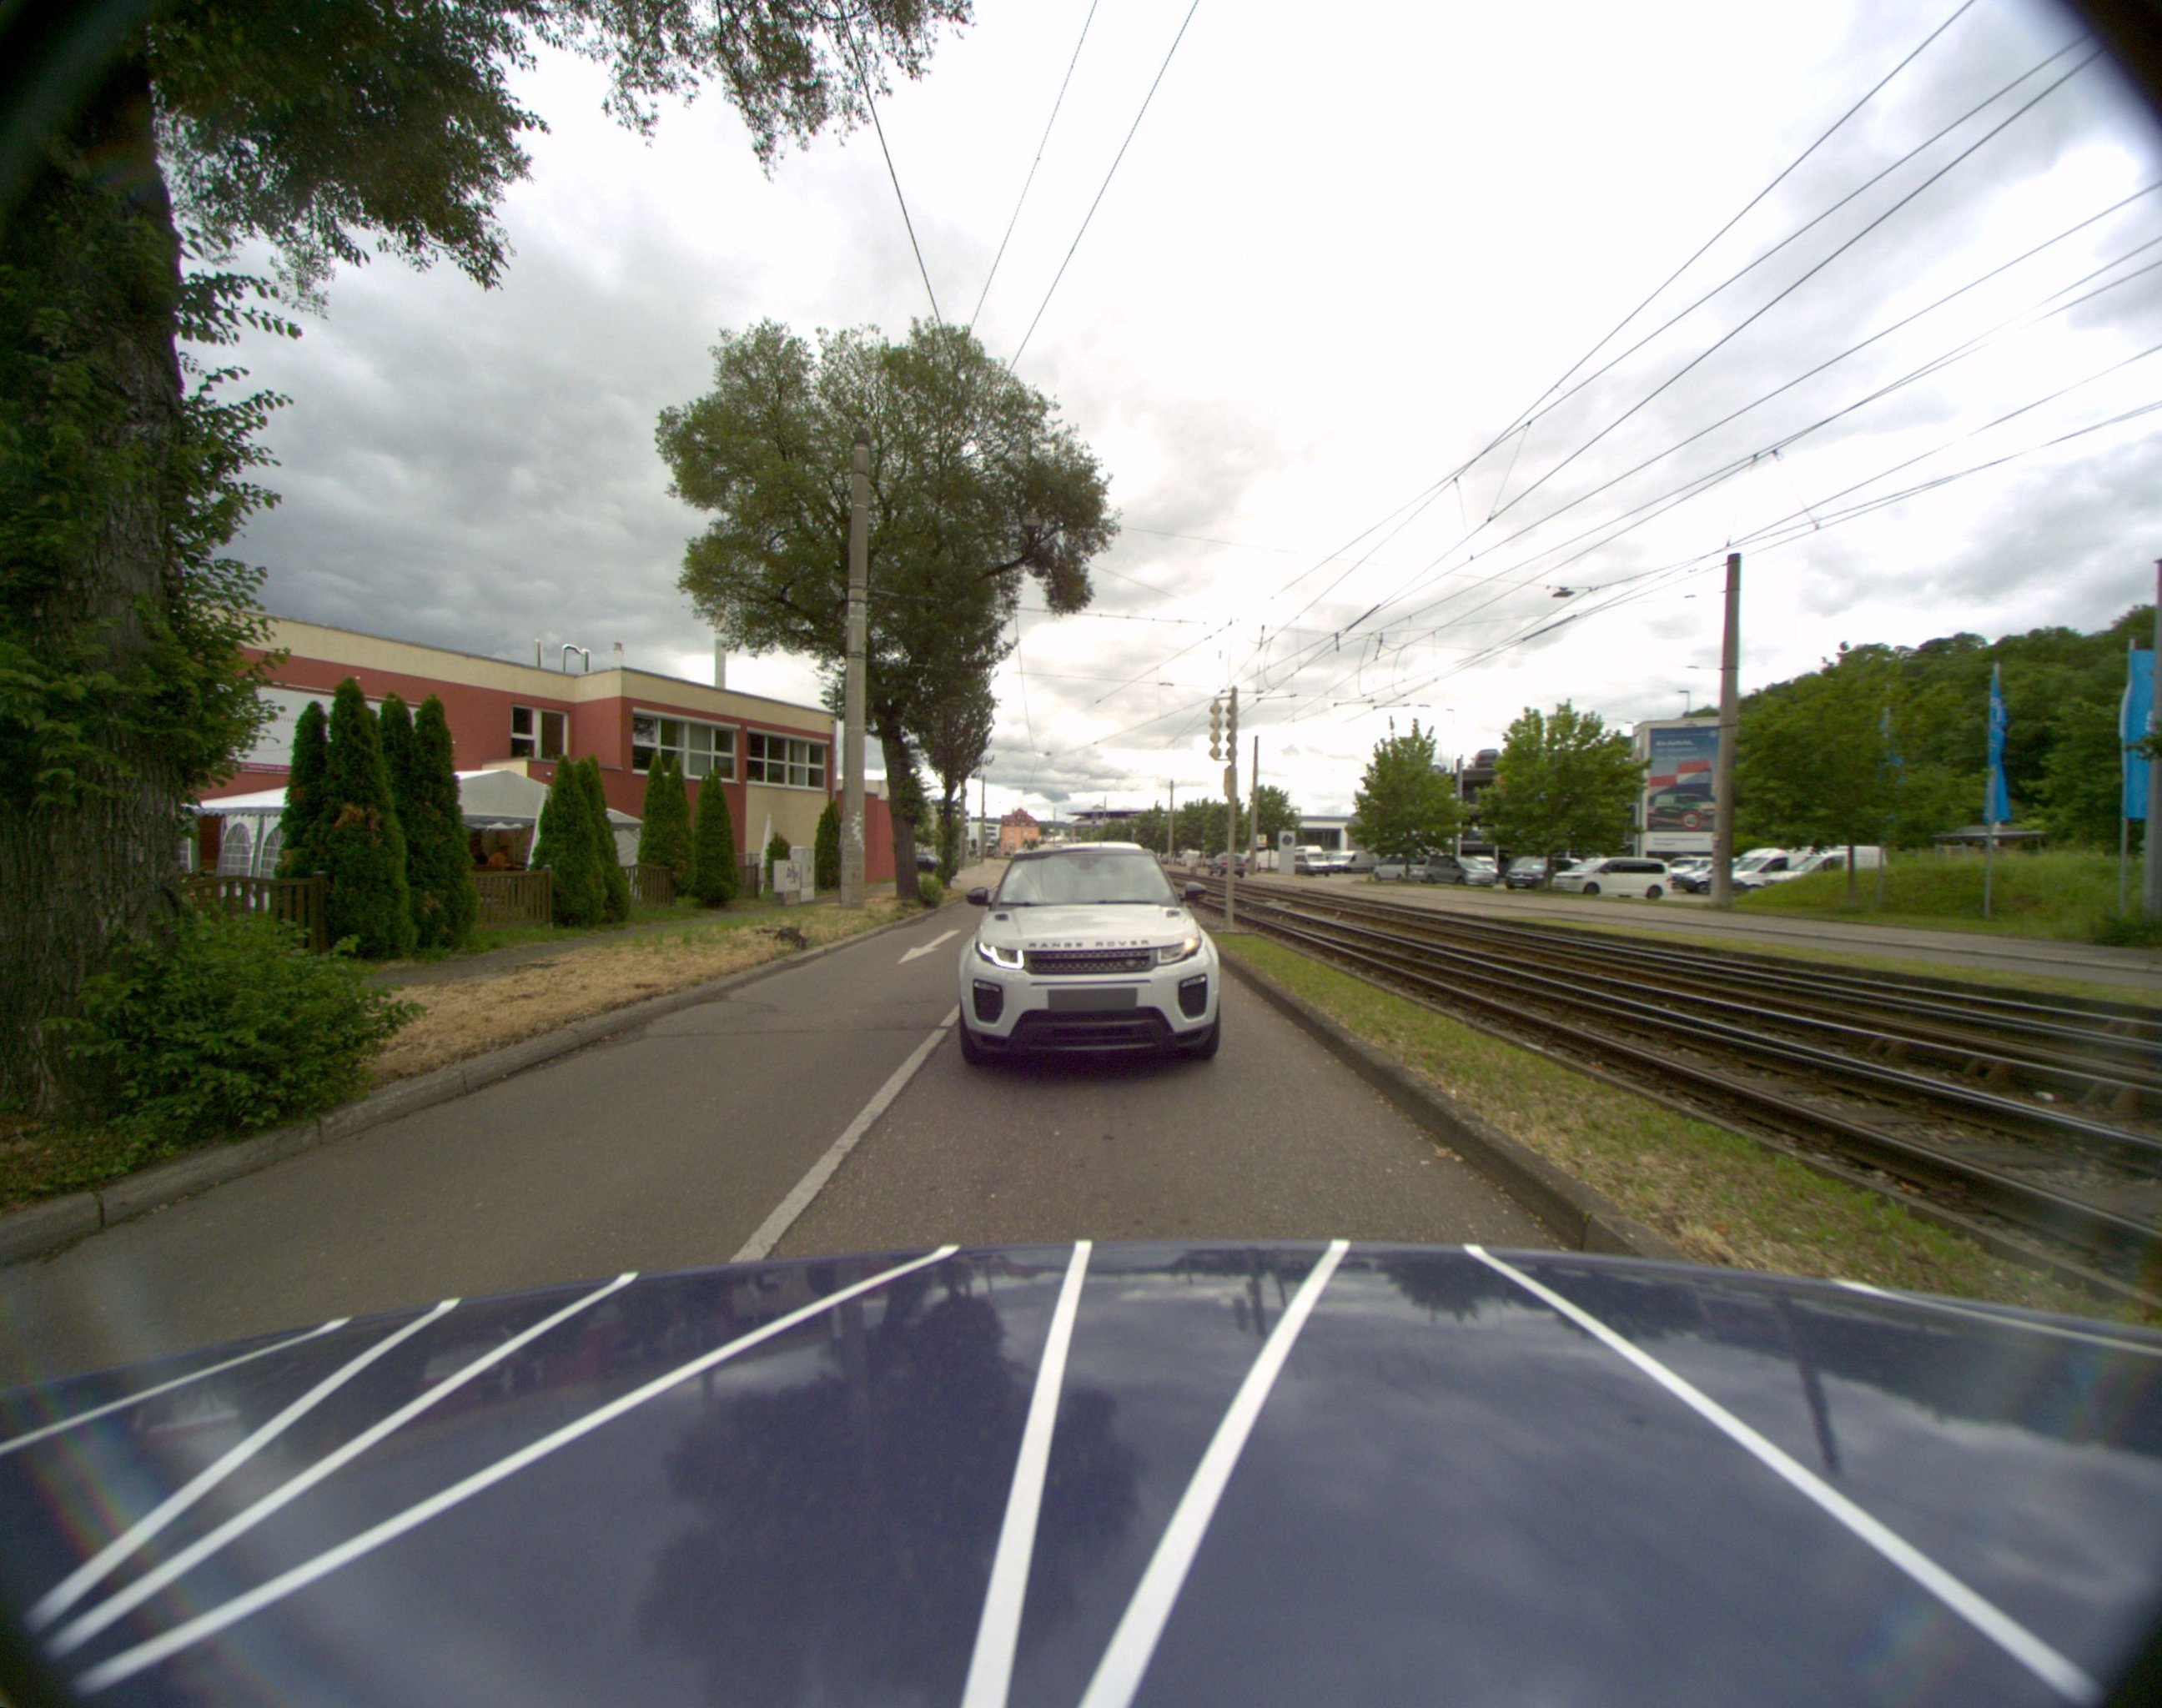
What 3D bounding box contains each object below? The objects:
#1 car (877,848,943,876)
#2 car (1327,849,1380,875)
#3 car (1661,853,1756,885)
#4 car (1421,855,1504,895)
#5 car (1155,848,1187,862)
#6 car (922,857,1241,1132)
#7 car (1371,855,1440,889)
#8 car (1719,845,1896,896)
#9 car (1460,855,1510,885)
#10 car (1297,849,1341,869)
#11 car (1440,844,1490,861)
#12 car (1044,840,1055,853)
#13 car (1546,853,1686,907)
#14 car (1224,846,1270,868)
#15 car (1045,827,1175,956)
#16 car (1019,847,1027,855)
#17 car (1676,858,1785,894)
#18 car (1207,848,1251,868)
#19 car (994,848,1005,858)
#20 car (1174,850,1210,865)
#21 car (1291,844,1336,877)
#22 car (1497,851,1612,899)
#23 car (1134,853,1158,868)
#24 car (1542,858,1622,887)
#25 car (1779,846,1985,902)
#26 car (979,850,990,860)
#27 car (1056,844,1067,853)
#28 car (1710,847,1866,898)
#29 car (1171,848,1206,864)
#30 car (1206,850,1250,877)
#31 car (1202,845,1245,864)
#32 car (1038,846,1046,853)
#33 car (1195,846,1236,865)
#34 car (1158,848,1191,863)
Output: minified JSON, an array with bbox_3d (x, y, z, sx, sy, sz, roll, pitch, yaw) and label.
[{"bbox_3d":[-11.168,0.533,49.852,3.999,1.636,1.895,-2,1,-6],"label":"car"},{"bbox_3d":[30.358,0.881,84.604,6.057,2.608,2.316,-3,1,-34],"label":"car"},{"bbox_3d":[39.894,0.963,48.432,4.228,1.826,1.983,-2,1,19],"label":"car"},{"bbox_3d":[22.918,1.206,45.906,2.142,2.104,4.773,-2,1,-7],"label":"car"},{"bbox_3d":[14.527,0.156,122.964,4.639,2.196,2.107,-2,1,-8],"label":"car"},{"bbox_3d":[0.004,0.892,6.913,1.998,1.680,4.268,0,1,0],"label":"car"},{"bbox_3d":[22.149,1.169,52.146,2.142,2.104,4.772,-2,1,-8],"label":"car"},{"bbox_3d":[35.091,0.817,36.938,5.839,2.254,2.056,-2,1,22],"label":"car"},{"bbox_3d":[28.904,1.091,54.449,1.900,1.882,4.600,-2,1,12],"label":"car"},{"bbox_3d":[29.154,0.616,93.067,4.636,2.196,2.108,-2,1,-1],"label":"car"},{"bbox_3d":[46.373,-0.213,91.832,5.216,1.826,1.983,-2,1,21],"label":"car"},{"bbox_3d":[-7.316,-1.678,174.778,2.410,2.931,4.747,-2,1,-2],"label":"car"},{"bbox_3d":[25.298,1.204,36.042,5.269,2.254,1.999,-2,1,-3],"label":"car"},{"bbox_3d":[18.788,0.330,86.129,4.639,2.196,2.107,-2,1,-8],"label":"car"},{"bbox_3d":[0.485,0.564,14.215,1.998,1.990,5.034,0,0,1],"label":"car"},{"bbox_3d":[-16.072,-0.893,210.845,2.000,2.002,3.997,-2,1,-7],"label":"car"},{"bbox_3d":[36.676,1.241,43.024,4.228,1.826,1.983,-2,1,19],"label":"car"},{"bbox_3d":[17.733,0.505,91.219,4.639,2.196,2.107,-2,1,-8],"label":"car"},{"bbox_3d":[-15.082,-0.218,140.303,1.869,1.740,3.998,-2,1,-5],"label":"car"},{"bbox_3d":[15.795,0.474,108.148,4.639,1.829,2.107,-2,1,-8],"label":"car"},{"bbox_3d":[22.432,0.596,73.636,2.320,2.994,6.157,-2,1,0],"label":"car"},{"bbox_3d":[24.696,1.065,39.716,4.774,2.254,1.979,-2,1,-3],"label":"car"},{"bbox_3d":[7.220,0.694,85.138,1.999,1.569,4.176,1,0,-4],"label":"car"},{"bbox_3d":[34.422,1.247,52.355,4.228,1.826,1.983,-2,1,19],"label":"car"},{"bbox_3d":[34.690,0.879,33.166,5.850,2.254,2.056,-2,1,22],"label":"car"},{"bbox_3d":[-19.867,0.165,157.117,1.906,1.708,4.133,5,1,-5],"label":"car"},{"bbox_3d":[-4.573,-1.253,178.561,2.000,2.002,3.997,-2,1,-7],"label":"car"},{"bbox_3d":[36.945,0.959,39.907,5.652,2.446,1.982,-2,1,19],"label":"car"},{"bbox_3d":[15.586,0.269,110.547,4.639,2.196,2.107,-2,1,-8],"label":"car"},{"bbox_3d":[10.686,0.655,55.475,1.906,1.708,4.133,4,1,-5],"label":"car"},{"bbox_3d":[17.526,0.036,93.654,4.639,2.196,2.107,-2,1,-8],"label":"car"},{"bbox_3d":[-10.562,-1.199,205.121,2.000,2.002,3.997,-2,1,-7],"label":"car"},{"bbox_3d":[17.106,0.214,96.439,4.639,2.196,2.107,-2,1,-8],"label":"car"},{"bbox_3d":[14.803,0.176,120.529,4.639,2.196,2.107,-2,1,-8],"label":"car"}]
